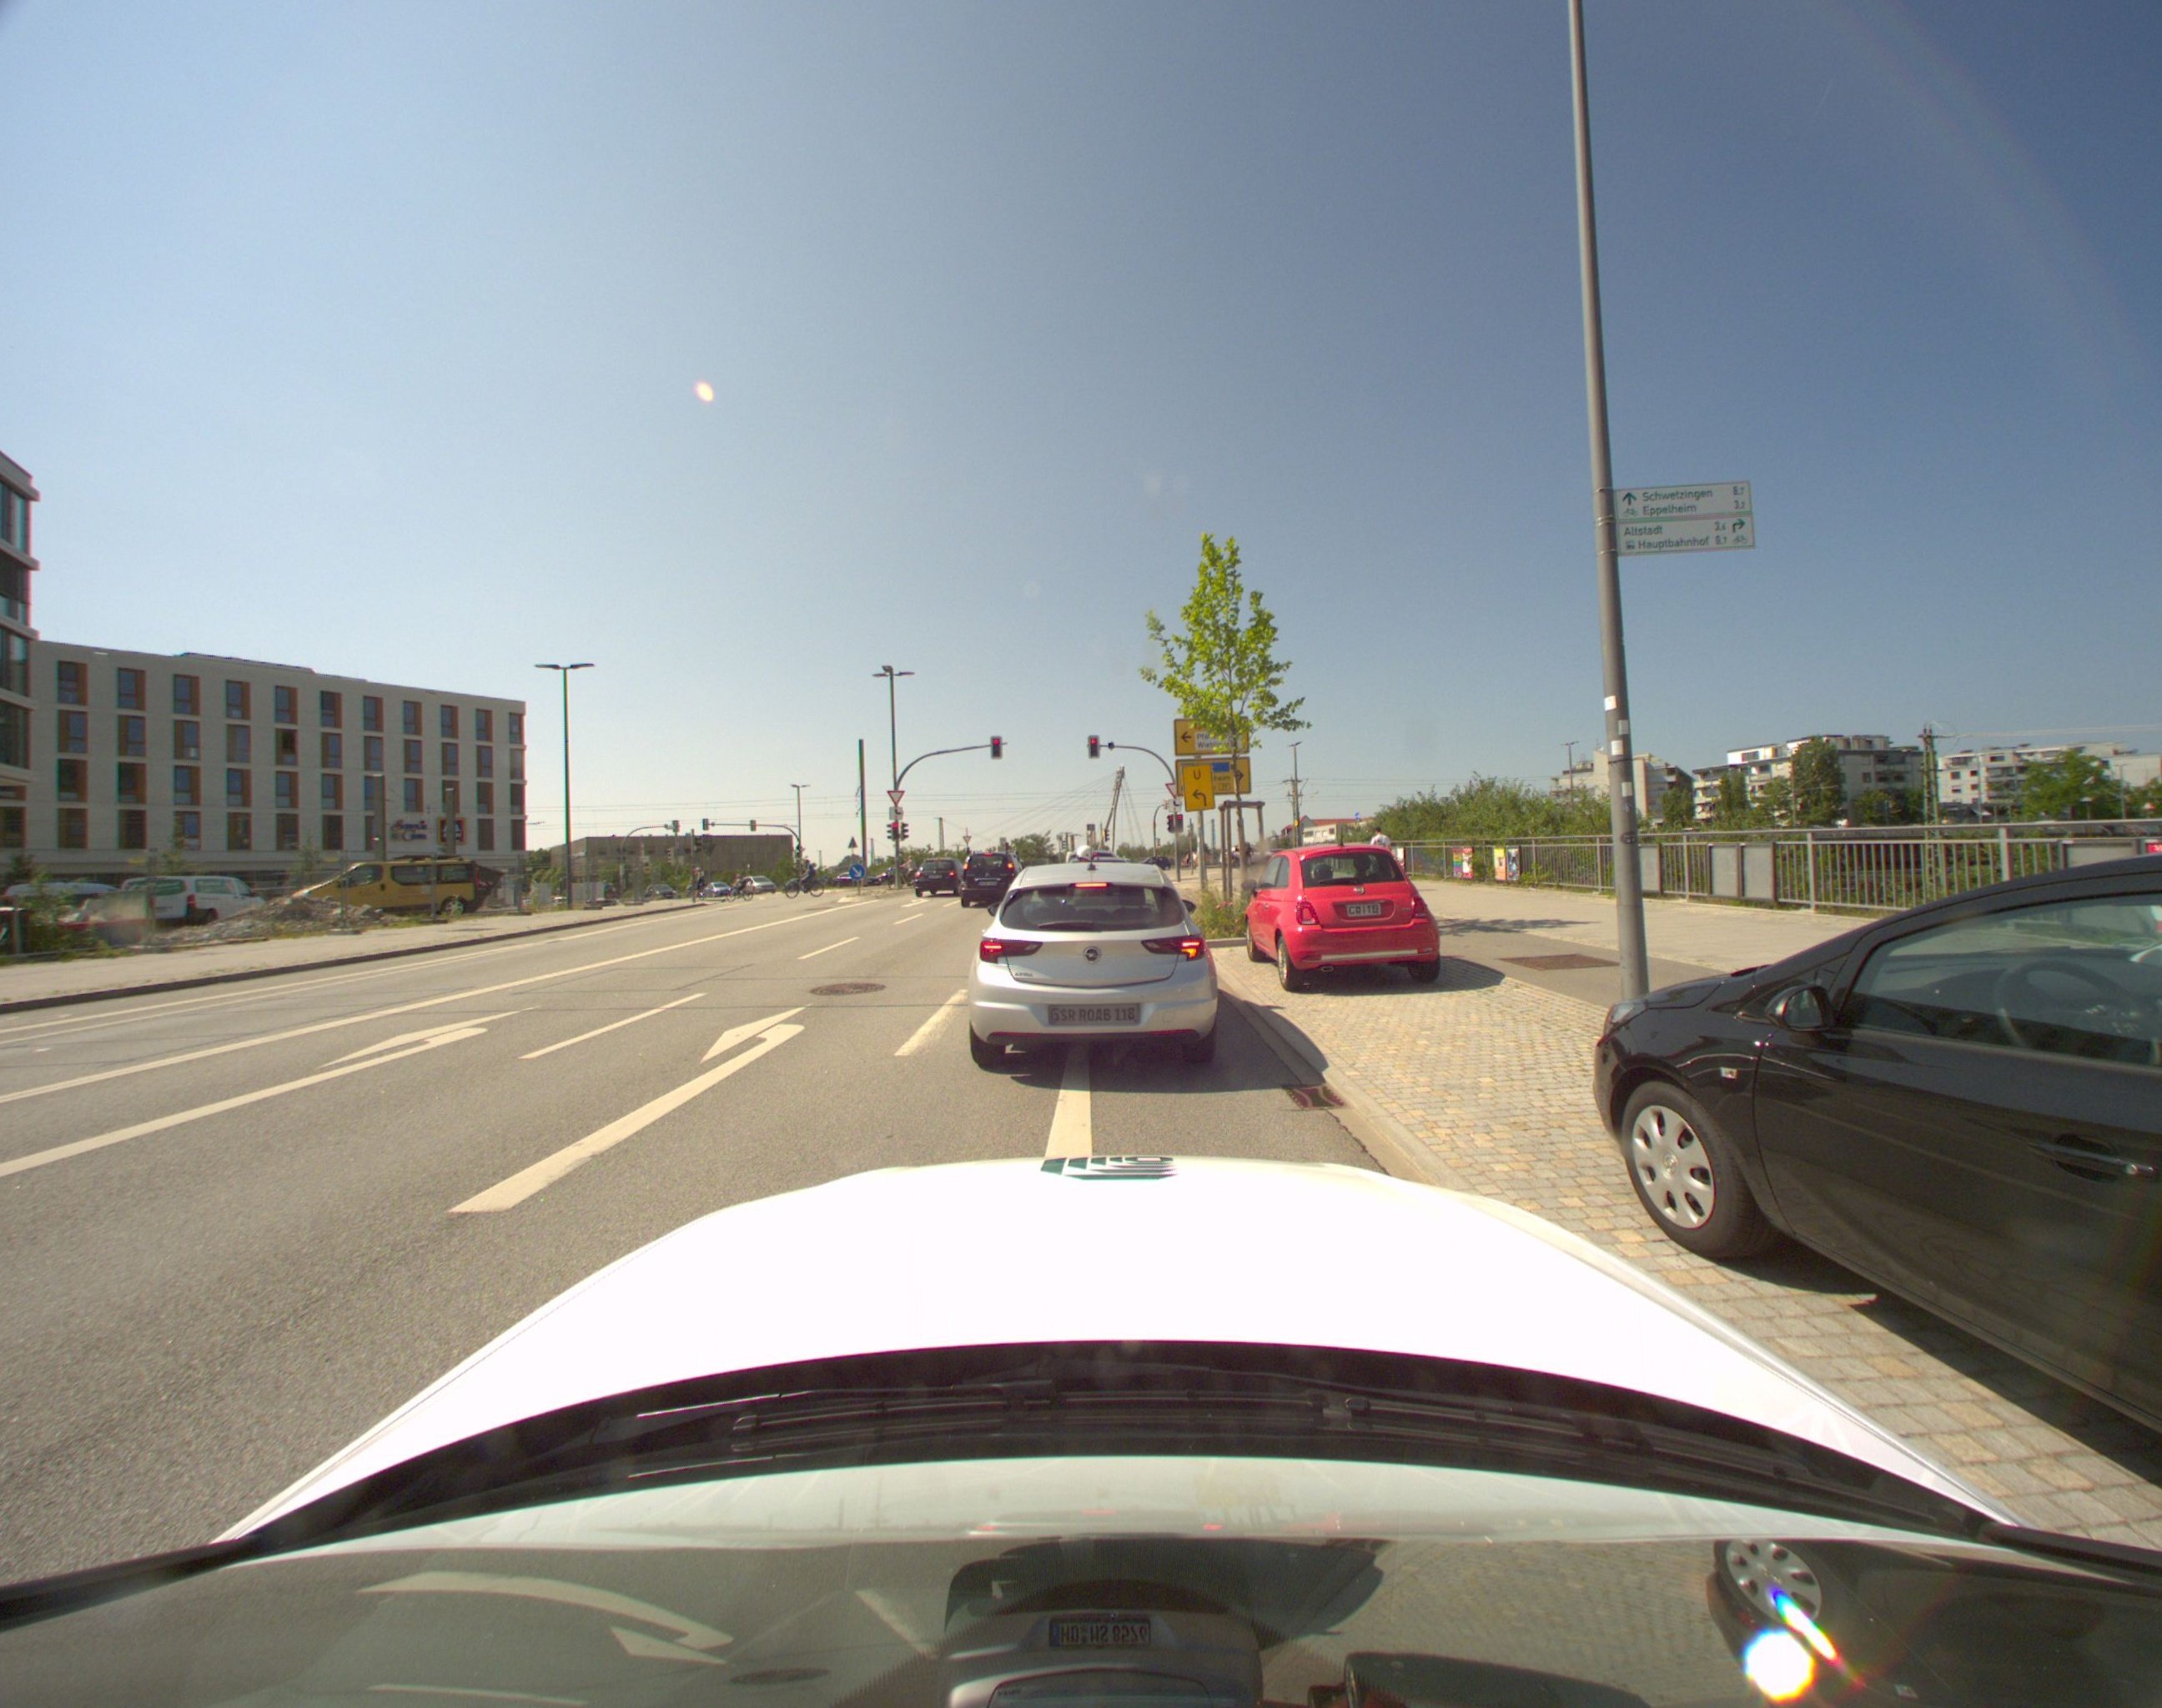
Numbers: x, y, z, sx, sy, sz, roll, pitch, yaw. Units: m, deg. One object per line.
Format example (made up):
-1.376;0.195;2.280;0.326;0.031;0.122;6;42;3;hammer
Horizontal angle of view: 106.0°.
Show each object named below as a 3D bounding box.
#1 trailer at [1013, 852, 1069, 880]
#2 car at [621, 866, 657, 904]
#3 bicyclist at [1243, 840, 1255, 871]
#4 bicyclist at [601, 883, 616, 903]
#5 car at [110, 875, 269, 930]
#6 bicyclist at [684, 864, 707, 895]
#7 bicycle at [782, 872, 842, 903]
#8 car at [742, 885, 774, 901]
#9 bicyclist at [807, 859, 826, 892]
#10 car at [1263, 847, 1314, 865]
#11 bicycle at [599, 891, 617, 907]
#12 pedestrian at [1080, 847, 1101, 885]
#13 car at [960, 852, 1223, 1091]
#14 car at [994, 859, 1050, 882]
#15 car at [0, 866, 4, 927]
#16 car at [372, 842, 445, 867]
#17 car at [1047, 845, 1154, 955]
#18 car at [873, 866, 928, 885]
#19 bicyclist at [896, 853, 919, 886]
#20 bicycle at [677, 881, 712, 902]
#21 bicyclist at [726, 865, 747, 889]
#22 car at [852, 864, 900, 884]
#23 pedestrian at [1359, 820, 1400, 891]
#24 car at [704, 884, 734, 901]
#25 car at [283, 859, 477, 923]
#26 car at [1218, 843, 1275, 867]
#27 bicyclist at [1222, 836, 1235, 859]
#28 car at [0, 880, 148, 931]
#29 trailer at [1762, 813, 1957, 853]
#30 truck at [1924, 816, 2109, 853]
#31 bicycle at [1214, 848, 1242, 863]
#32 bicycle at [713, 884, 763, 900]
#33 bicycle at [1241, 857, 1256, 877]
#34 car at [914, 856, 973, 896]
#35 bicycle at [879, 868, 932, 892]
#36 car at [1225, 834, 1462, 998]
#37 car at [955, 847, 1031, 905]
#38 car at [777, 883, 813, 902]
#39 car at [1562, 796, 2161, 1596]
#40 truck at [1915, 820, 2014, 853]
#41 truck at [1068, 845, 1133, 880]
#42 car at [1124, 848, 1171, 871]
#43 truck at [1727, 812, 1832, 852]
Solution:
-2.931;0.888;59.848;3.974;2.014;2.000;0;-1;0;trailer
-24.207;1.650;44.608;1.680;2.014;3.963;0;-1;-29;car
10.144;0.103;49.213;0.629;1.887;0.599;-1;-1;20;bicyclist
-35.660;2.917;61.479;0.828;1.504;0.712;0;-2;-40;bicyclist
-31.083;1.620;28.625;2.003;1.707;4.526;0;-1;-23;car
-19.055;1.258;40.267;0.650;1.502;0.849;-1;-2;41;bicyclist
-12.651;1.553;38.334;2.533;1.134;0.723;-7;2;-20;bicycle
-27.066;3.234;68.324;2.485;1.240;1.271;-1;-1;-20;car
-12.483;1.018;38.435;0.825;1.560;0.857;0;-1;-20;bicyclist
19.746;0.188;77.631;4.254;1.673;1.989;-1;-1;-16;car
-35.724;3.370;61.504;0.640;1.133;2.297;0;-1;-44;bicycle
0.477;0.600;40.363;0.746;1.863;0.745;1;-2;-38;pedestrian
0.113;0.776;7.417;1.685;1.520;4.271;-1;0;1;car
-4.561;1.305;63.652;3.962;1.784;2.006;0;-1;10;car
-36.278;1.394;25.058;2.220;2.056;4.133;0;-1;-28;car
-54.329;0.050;65.866;3.990;2.014;1.991;0;-1;-12;car
0.337;0.732;14.288;1.629;1.674;3.745;0;-1;1;car
-13.618;1.628;61.524;3.745;1.390;1.674;0;-1;18;car
-8.293;0.754;38.986;0.943;1.569;0.822;0;-1;-3;bicyclist
-19.167;1.858;40.357;2.480;1.007;0.609;-2;-1;42;bicycle
-16.554;1.104;39.126;0.654;1.175;0.731;0;-1;3;bicyclist
-16.864;1.646;66.924;3.473;1.641;1.811;-1;-1;29;car
7.907;0.048;21.584;0.755;1.830;0.885;0;-1;1;pedestrian
-34.197;3.609;76.910;1.595;1.439;3.115;1;-1;-43;car
-22.662;1.144;26.477;1.974;1.890;4.514;-1;-1;40;car
12.997;0.097;64.004;4.031;1.815;1.926;-1;-1;-8;car
10.355;-0.425;57.198;0.769;1.610;0.949;0;-1;1;bicyclist
-33.746;1.678;27.338;1.809;1.508;3.965;0;-1;-27;car
68.083;-1.773;71.193;17.225;3.204;3.723;0;-1;-14;trailer
87.812;-1.744;76.438;17.857;3.204;3.723;0;-1;-14;truck
10.312;0.127;57.235;1.860;1.068;0.578;0;-1;0;bicycle
-16.462;1.815;39.106;2.235;0.692;0.517;-1;-1;5;bicycle
10.128;0.778;49.176;0.549;1.178;2.099;0;0;22;bicycle
-5.214;0.834;31.183;1.581;1.395;3.340;-1;-1;1;car
-8.386;1.216;38.969;2.352;1.127;0.676;0;-1;-4;bicycle
2.963;0.590;10.063;1.663;1.539;3.918;-3;1;1;car
-2.606;0.651;24.862;1.797;1.622;3.917;0;-1;1;car
-32.214;4.287;91.721;3.948;2.014;2.012;-1;-1;39;car
2.880;0.640;1.734;1.576;1.555;3.548;-4;0;1;car
89.375;-1.684;82.374;9.890;3.158;2.492;0;-1;-15;truck
1.417;0.635;59.902;4.680;2.541;1.999;0;-1;-2;truck
6.291;0.533;77.334;3.988;2.014;1.992;-1;-1;-11;car
59.055;-1.778;68.935;6.478;3.204;3.721;0;-1;-14;truck
